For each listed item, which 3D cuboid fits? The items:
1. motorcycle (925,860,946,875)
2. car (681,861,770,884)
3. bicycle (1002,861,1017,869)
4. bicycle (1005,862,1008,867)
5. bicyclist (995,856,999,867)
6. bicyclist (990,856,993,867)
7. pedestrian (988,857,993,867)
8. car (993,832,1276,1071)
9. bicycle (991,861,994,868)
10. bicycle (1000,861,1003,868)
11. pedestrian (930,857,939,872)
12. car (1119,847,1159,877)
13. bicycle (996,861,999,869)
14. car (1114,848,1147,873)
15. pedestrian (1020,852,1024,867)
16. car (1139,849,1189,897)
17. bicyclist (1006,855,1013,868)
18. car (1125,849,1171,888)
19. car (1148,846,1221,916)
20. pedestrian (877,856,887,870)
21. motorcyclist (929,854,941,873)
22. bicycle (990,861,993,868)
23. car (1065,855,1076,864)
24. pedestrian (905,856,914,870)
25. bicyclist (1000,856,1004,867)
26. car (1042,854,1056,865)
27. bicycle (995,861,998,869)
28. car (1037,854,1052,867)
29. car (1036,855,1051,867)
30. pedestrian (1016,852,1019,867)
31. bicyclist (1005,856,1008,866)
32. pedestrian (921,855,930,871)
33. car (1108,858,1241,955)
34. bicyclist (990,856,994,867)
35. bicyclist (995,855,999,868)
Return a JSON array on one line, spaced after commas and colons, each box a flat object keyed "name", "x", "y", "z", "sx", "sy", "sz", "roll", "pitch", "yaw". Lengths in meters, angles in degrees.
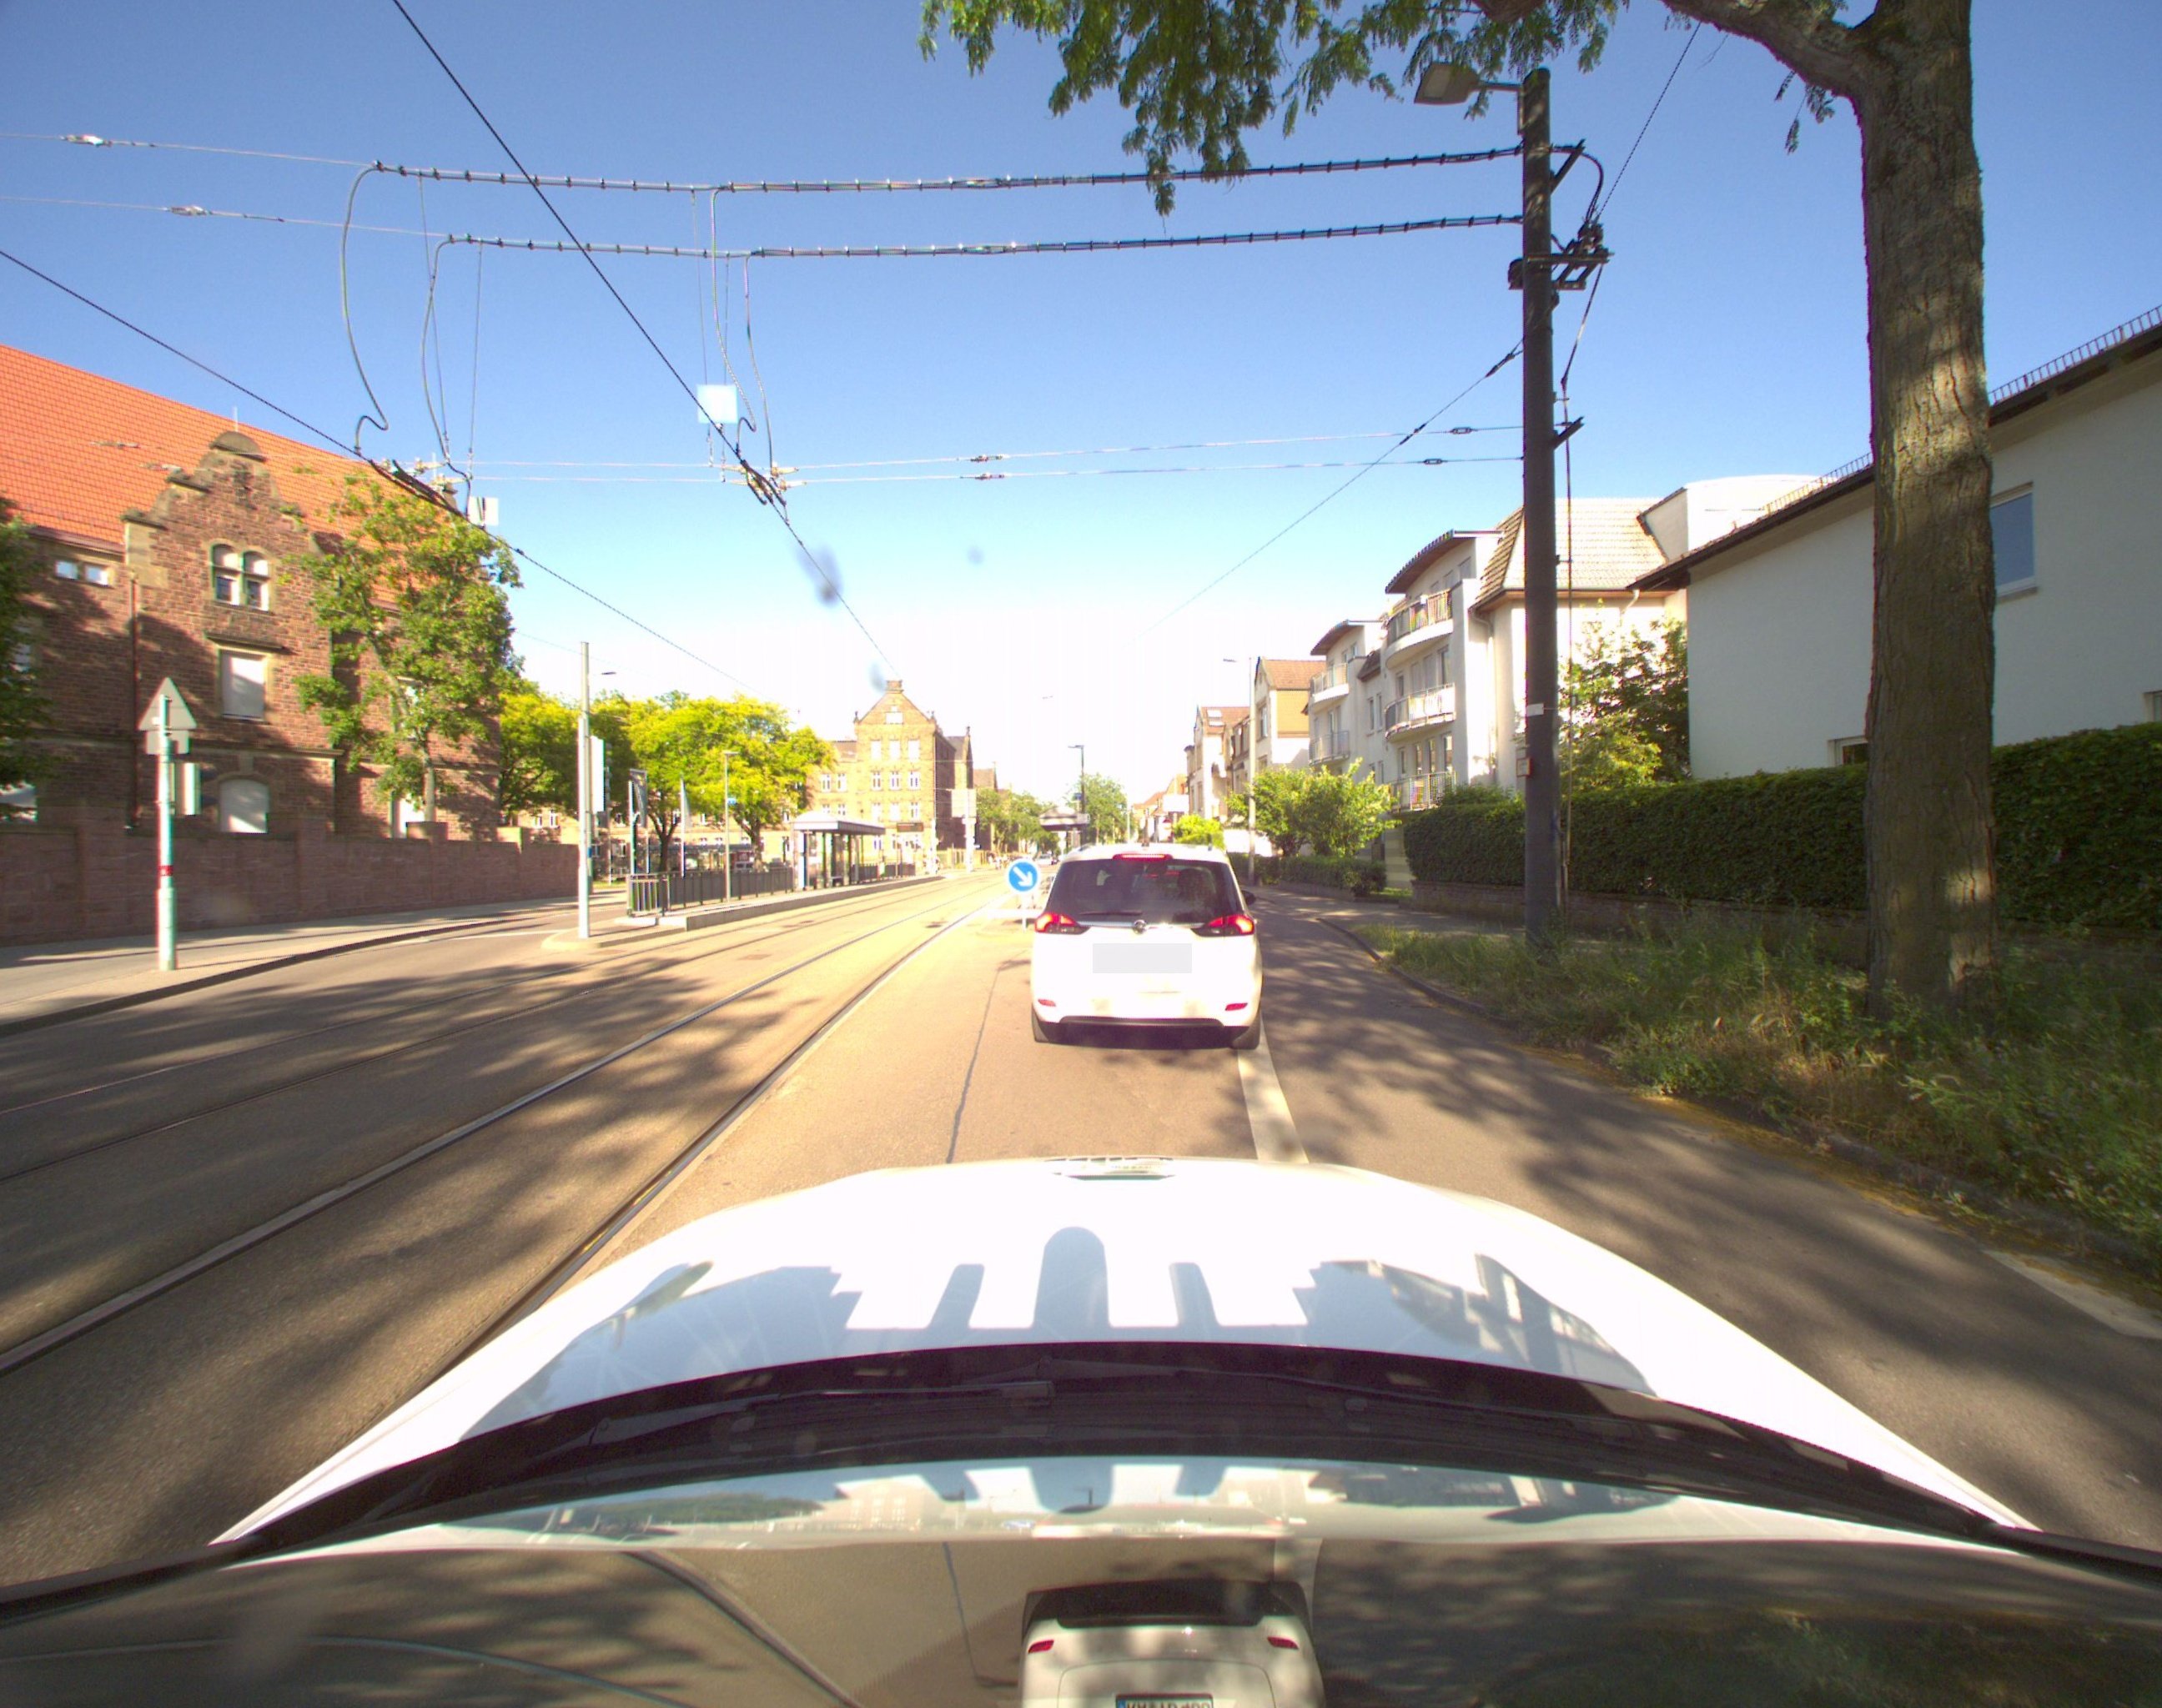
[{"name": "motorcycle", "x": -12.491, "y": 1.163, "z": 69.958, "sx": 0.606, "sy": 1.198, "sz": 2.087, "roll": -1, "pitch": 0, "yaw": 25}, {"name": "car", "x": -32.963, "y": 1.697, "z": 75.707, "sx": 6.927, "sy": 1.921, "sz": 2.992, "roll": -1, "pitch": 0, "yaw": 0}, {"name": "bicycle", "x": -8.277, "y": 1.288, "z": 94.315, "sx": 1.662, "sy": 0.953, "sz": 0.530, "roll": -1, "pitch": 0, "yaw": 4}, {"name": "bicycle", "x": -10.210, "y": 1.464, "z": 112.111, "sx": 0.343, "sy": 0.725, "sz": 0.996, "roll": 0, "pitch": -1, "yaw": -1}, {"name": "bicyclist", "x": -10.983, "y": 0.978, "z": 107.033, "sx": 0.443, "sy": 1.553, "sz": 0.495, "roll": -1, "pitch": 0, "yaw": -2}, {"name": "bicyclist", "x": -12.688, "y": 1.059, "z": 115.610, "sx": 0.443, "sy": 1.553, "sz": 0.495, "roll": -1, "pitch": 0, "yaw": -2}, {"name": "pedestrian", "x": -15.353, "y": 1.400, "z": 138.531, "sx": 0.733, "sy": 1.714, "sz": 0.753, "roll": 0, "pitch": -1, "yaw": -4}, {"name": "car", "x": 0.644, "y": 0.683, "z": 7.712, "sx": 1.982, "sy": 1.644, "sz": 4.003, "roll": 0, "pitch": 0, "yaw": 8}, {"name": "bicycle", "x": -12.425, "y": 1.510, "z": 113.807, "sx": 0.343, "sy": 0.950, "sz": 0.996, "roll": 0, "pitch": -1, "yaw": -1}, {"name": "bicycle", "x": -10.665, "y": 1.464, "z": 109.616, "sx": 0.343, "sy": 0.950, "sz": 0.996, "roll": 0, "pitch": -1, "yaw": -1}, {"name": "pedestrian", "x": -17.338, "y": 1.212, "z": 96.354, "sx": 0.728, "sy": 1.714, "sz": 0.710, "roll": -1, "pitch": -1, "yaw": 24}, {"name": "car", "x": 3.126, "y": 0.414, "z": 44.385, "sx": 1.986, "sy": 1.503, "sz": 4.002, "roll": -1, "pitch": 0, "yaw": 2}, {"name": "bicycle", "x": -11.007, "y": 1.446, "z": 107.074, "sx": 0.343, "sy": 0.950, "sz": 0.996, "roll": 0, "pitch": -1, "yaw": -1}, {"name": "car", "x": 3.100, "y": 0.385, "z": 51.852, "sx": 1.986, "sy": 1.503, "sz": 4.002, "roll": -1, "pitch": 0, "yaw": 2}, {"name": "pedestrian", "x": -8.147, "y": 0.773, "z": 112.661, "sx": 0.443, "sy": 2.013, "sz": 0.495, "roll": -1, "pitch": 0, "yaw": -2}, {"name": "car", "x": 2.943, "y": 0.635, "z": 29.328, "sx": 1.630, "sy": 1.601, "sz": 3.859, "roll": -1, "pitch": 0, "yaw": 4}, {"name": "bicyclist", "x": -8.302, "y": 0.852, "z": 94.333, "sx": 0.755, "sy": 1.430, "sz": 0.516, "roll": 0, "pitch": -1, "yaw": 4}, {"name": "car", "x": 2.929, "y": 0.611, "z": 36.259, "sx": 1.824, "sy": 1.579, "sz": 4.012, "roll": -1, "pitch": 0, "yaw": 2}, {"name": "car", "x": 2.573, "y": 0.637, "z": 20.903, "sx": 1.630, "sy": 1.601, "sz": 3.859, "roll": -1, "pitch": 0, "yaw": 4}, {"name": "pedestrian", "x": -21.750, "y": 0.996, "z": 89.032, "sx": 0.929, "sy": 1.588, "sz": 0.804, "roll": 0, "pitch": -1, "yaw": -2}, {"name": "motorcyclist", "x": -12.554, "y": 0.831, "z": 69.808, "sx": 0.608, "sy": 1.621, "sz": 0.849, "roll": -1, "pitch": 0, "yaw": 24}, {"name": "bicycle", "x": -12.682, "y": 1.527, "z": 115.644, "sx": 0.343, "sy": 0.950, "sz": 0.996, "roll": 0, "pitch": -1, "yaw": -1}, {"name": "car", "x": -2.004, "y": 0.945, "z": 151.405, "sx": 1.988, "sy": 1.629, "sz": 3.998, "roll": -1, "pitch": 0, "yaw": -1}, {"name": "pedestrian", "x": -18.788, "y": 0.976, "z": 89.248, "sx": 0.799, "sy": 1.588, "sz": 0.934, "roll": 0, "pitch": -1, "yaw": -1}, {"name": "bicyclist", "x": -10.666, "y": 0.997, "z": 109.611, "sx": 0.443, "sy": 1.553, "sz": 0.495, "roll": -1, "pitch": 0, "yaw": -2}, {"name": "car", "x": -5.135, "y": 0.910, "z": 130.999, "sx": 1.987, "sy": 1.629, "sz": 4.000, "roll": -1, "pitch": 0, "yaw": 0}, {"name": "bicycle", "x": -10.718, "y": 1.415, "z": 103.532, "sx": 0.343, "sy": 0.950, "sz": 1.160, "roll": 0, "pitch": -1, "yaw": -1}, {"name": "car", "x": -4.819, "y": 0.893, "z": 107.630, "sx": 1.989, "sy": 1.629, "sz": 3.996, "roll": -1, "pitch": 0, "yaw": -3}, {"name": "car", "x": -5.300, "y": 0.954, "z": 114.753, "sx": 1.989, "sy": 1.629, "sz": 3.996, "roll": -1, "pitch": 0, "yaw": -3}, {"name": "pedestrian", "x": -8.773, "y": 0.775, "z": 112.355, "sx": 0.443, "sy": 2.013, "sz": 0.495, "roll": -1, "pitch": 0, "yaw": -2}, {"name": "bicyclist", "x": -10.218, "y": 0.999, "z": 112.110, "sx": 0.358, "sy": 1.303, "sz": 0.397, "roll": -1, "pitch": 0, "yaw": -2}, {"name": "pedestrian", "x": -17.020, "y": 0.991, "z": 89.148, "sx": 0.839, "sy": 1.691, "sz": 1.029, "roll": 0, "pitch": -1, "yaw": 1}, {"name": "car", "x": 1.532, "y": 0.790, "z": 14.074, "sx": 1.944, "sy": 1.397, "sz": 4.005, "roll": -1, "pitch": 0, "yaw": 4}, {"name": "bicyclist", "x": -12.453, "y": 1.043, "z": 113.769, "sx": 0.443, "sy": 1.553, "sz": 0.495, "roll": -1, "pitch": 0, "yaw": -2}, {"name": "bicyclist", "x": -10.710, "y": 0.949, "z": 103.742, "sx": 0.443, "sy": 1.553, "sz": 0.742, "roll": -1, "pitch": 0, "yaw": -2}]
